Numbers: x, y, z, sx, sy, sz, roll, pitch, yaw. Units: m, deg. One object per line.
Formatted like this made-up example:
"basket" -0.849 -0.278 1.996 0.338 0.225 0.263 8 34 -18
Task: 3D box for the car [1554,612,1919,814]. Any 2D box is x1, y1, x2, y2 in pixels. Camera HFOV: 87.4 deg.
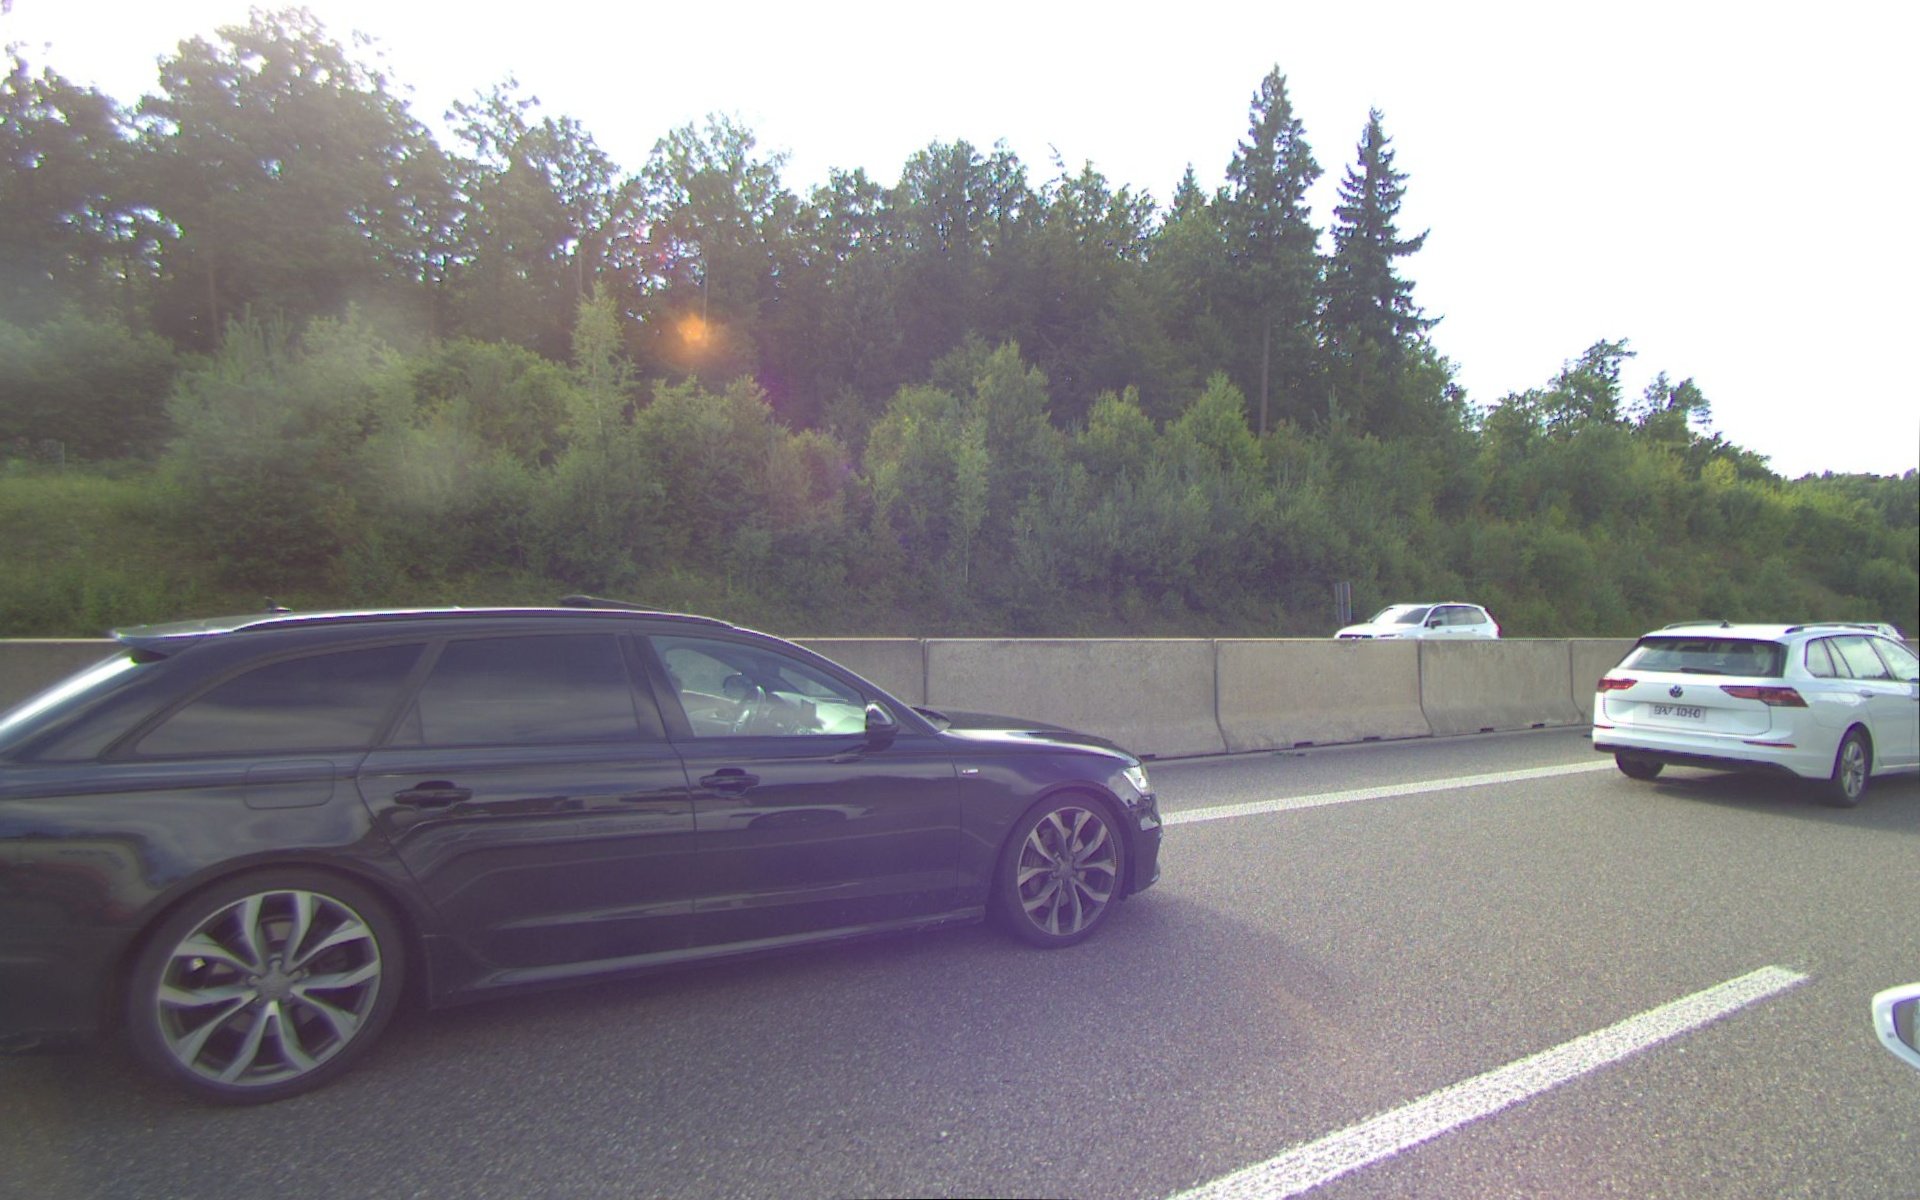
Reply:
"car" 7.668 0.914 9.368 4.257 1.480 1.796 2 -1 -30

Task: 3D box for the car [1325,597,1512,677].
"car" 11.529 0.894 25.184 4.868 1.834 1.842 1 0 -31

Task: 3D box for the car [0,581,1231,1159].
"car" -1.199 0.719 4.360 4.692 1.475 1.834 1 0 -31

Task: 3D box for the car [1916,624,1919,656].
"car" 55.980 2.287 56.609 4.868 1.834 1.842 1 0 -31
